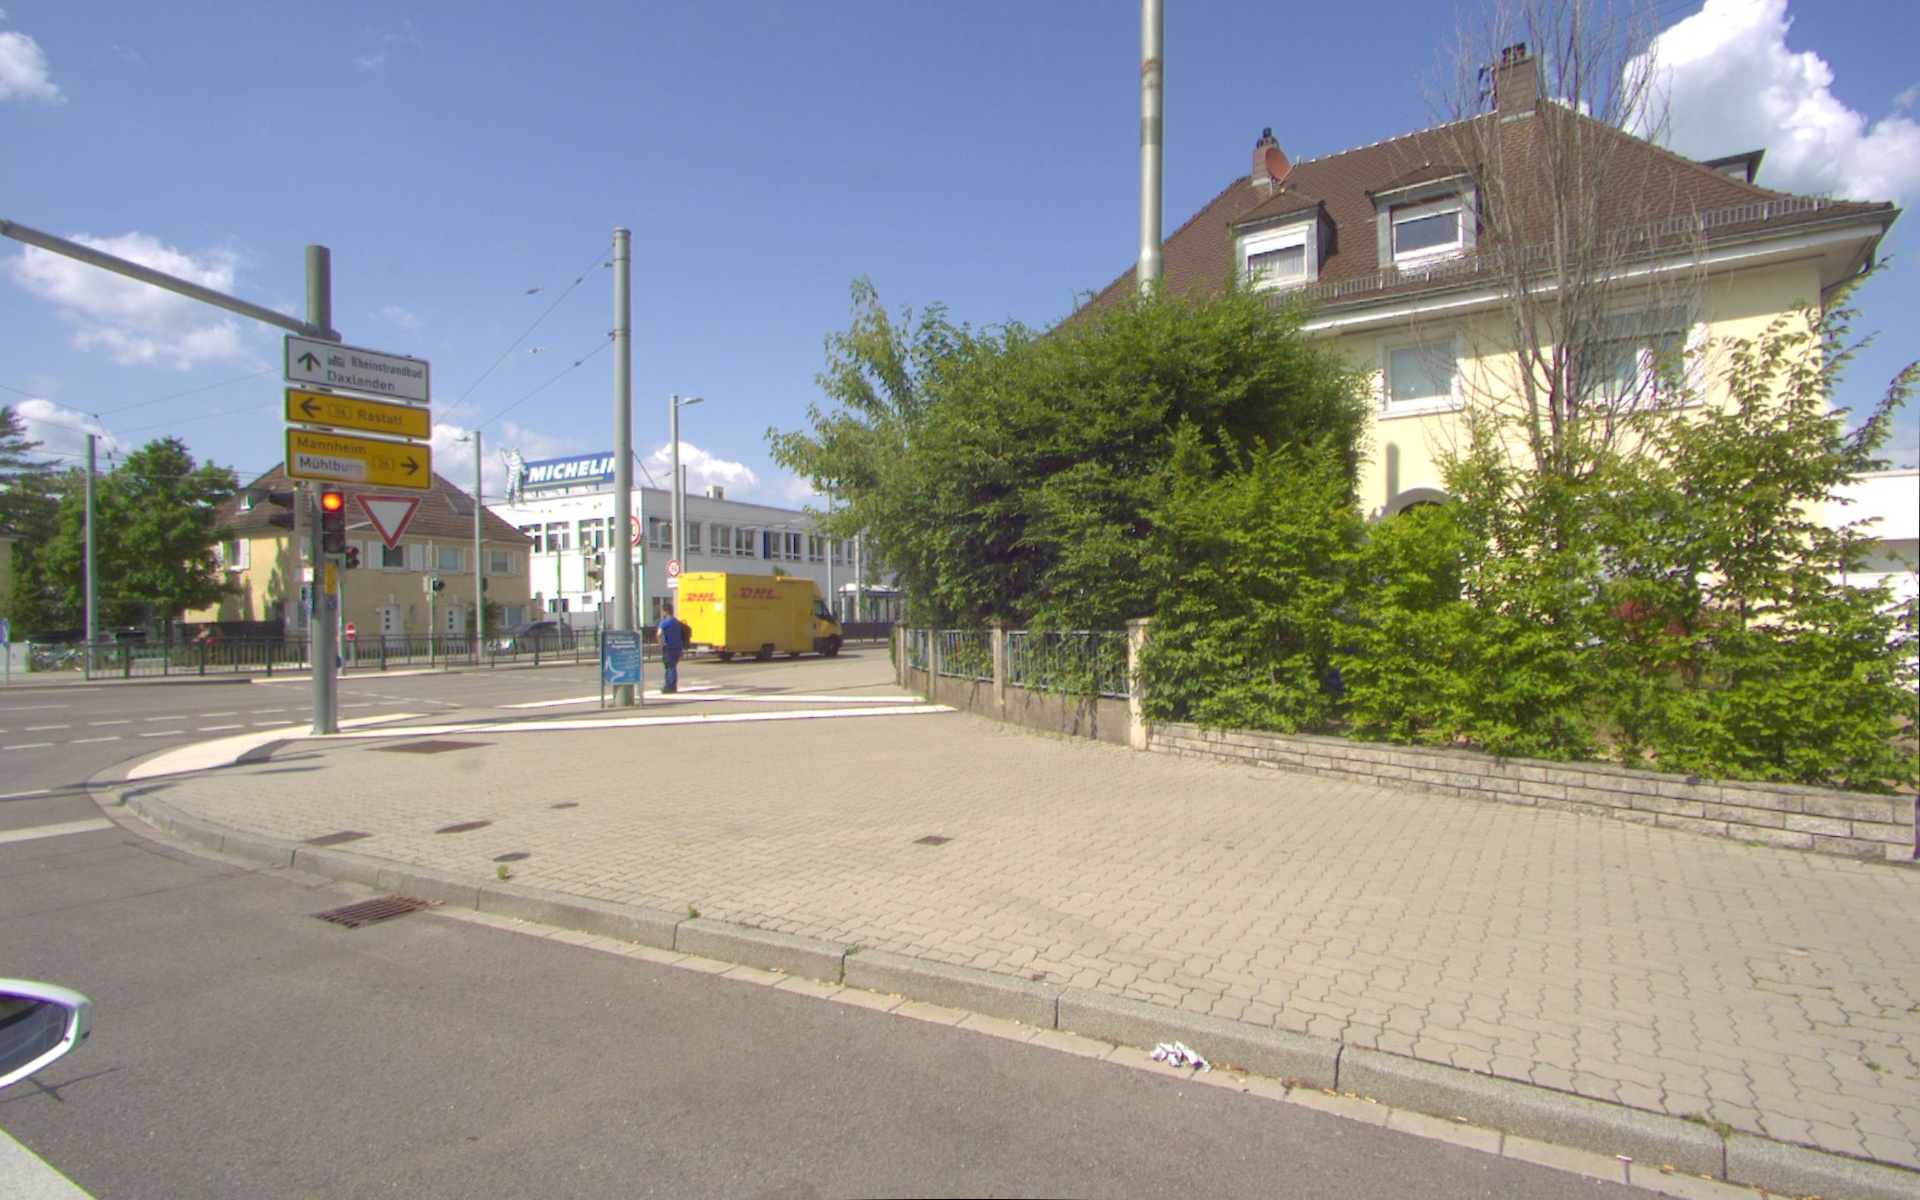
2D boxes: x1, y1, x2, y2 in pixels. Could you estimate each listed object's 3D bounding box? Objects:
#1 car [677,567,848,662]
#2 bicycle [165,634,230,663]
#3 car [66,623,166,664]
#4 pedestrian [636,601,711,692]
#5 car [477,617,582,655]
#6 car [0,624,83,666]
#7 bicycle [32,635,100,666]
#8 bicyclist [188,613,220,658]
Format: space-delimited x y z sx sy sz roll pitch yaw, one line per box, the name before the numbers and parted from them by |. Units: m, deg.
car | -6.661 0.515 34.725 2.034 2.966 6.561 -1 -1 30
bicycle | -30.797 1.939 40.467 2.005 1.116 0.711 0 -1 -31
car | -37.616 1.945 44.652 3.934 1.641 1.823 -3 -1 23
pedestrian | -5.734 0.913 20.058 1.025 1.757 1.028 -1 0 29
car | -19.005 1.562 44.343 1.815 1.589 3.981 -1 -1 30
car | -39.410 1.917 42.465 3.934 1.641 1.823 -3 -1 23
bicycle | -34.090 1.912 38.217 1.777 1.119 0.701 -1 -1 -19
bicyclist | -30.655 1.426 40.601 0.946 1.798 0.716 -1 -1 -30
